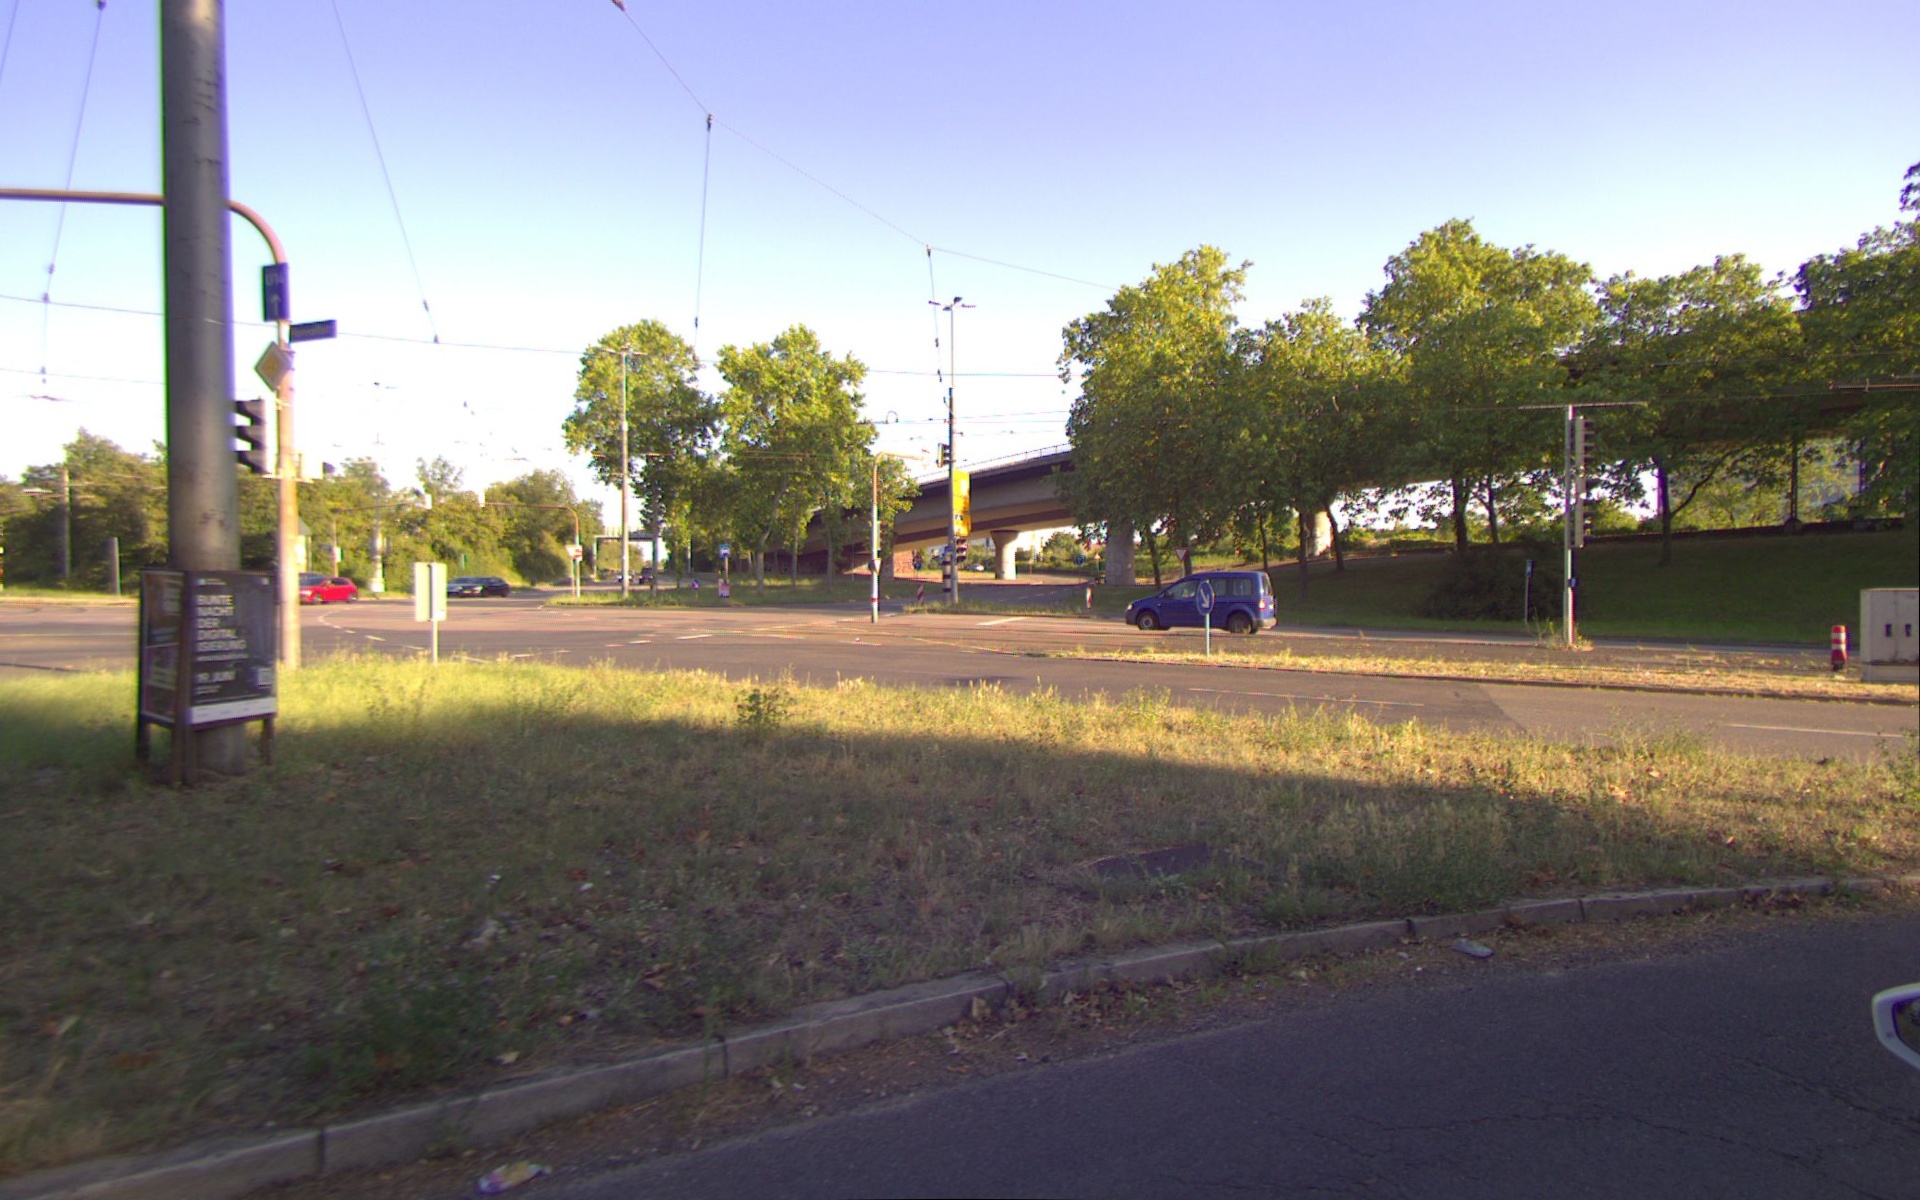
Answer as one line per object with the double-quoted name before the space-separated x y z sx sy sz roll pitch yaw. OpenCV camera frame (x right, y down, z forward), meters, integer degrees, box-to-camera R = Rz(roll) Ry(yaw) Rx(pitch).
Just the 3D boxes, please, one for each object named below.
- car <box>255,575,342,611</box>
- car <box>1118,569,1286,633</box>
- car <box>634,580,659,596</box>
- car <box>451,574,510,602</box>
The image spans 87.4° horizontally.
"car" -35.593 -0.380 54.142 1.847 1.795 4.001 1 1 4
"car" 7.081 -0.001 29.402 4.433 1.715 1.998 1 1 26
"car" -35.748 -1.347 114.756 1.849 1.795 3.997 1 1 -4
"car" -32.261 -0.800 67.720 1.847 1.795 4.001 1 1 4
